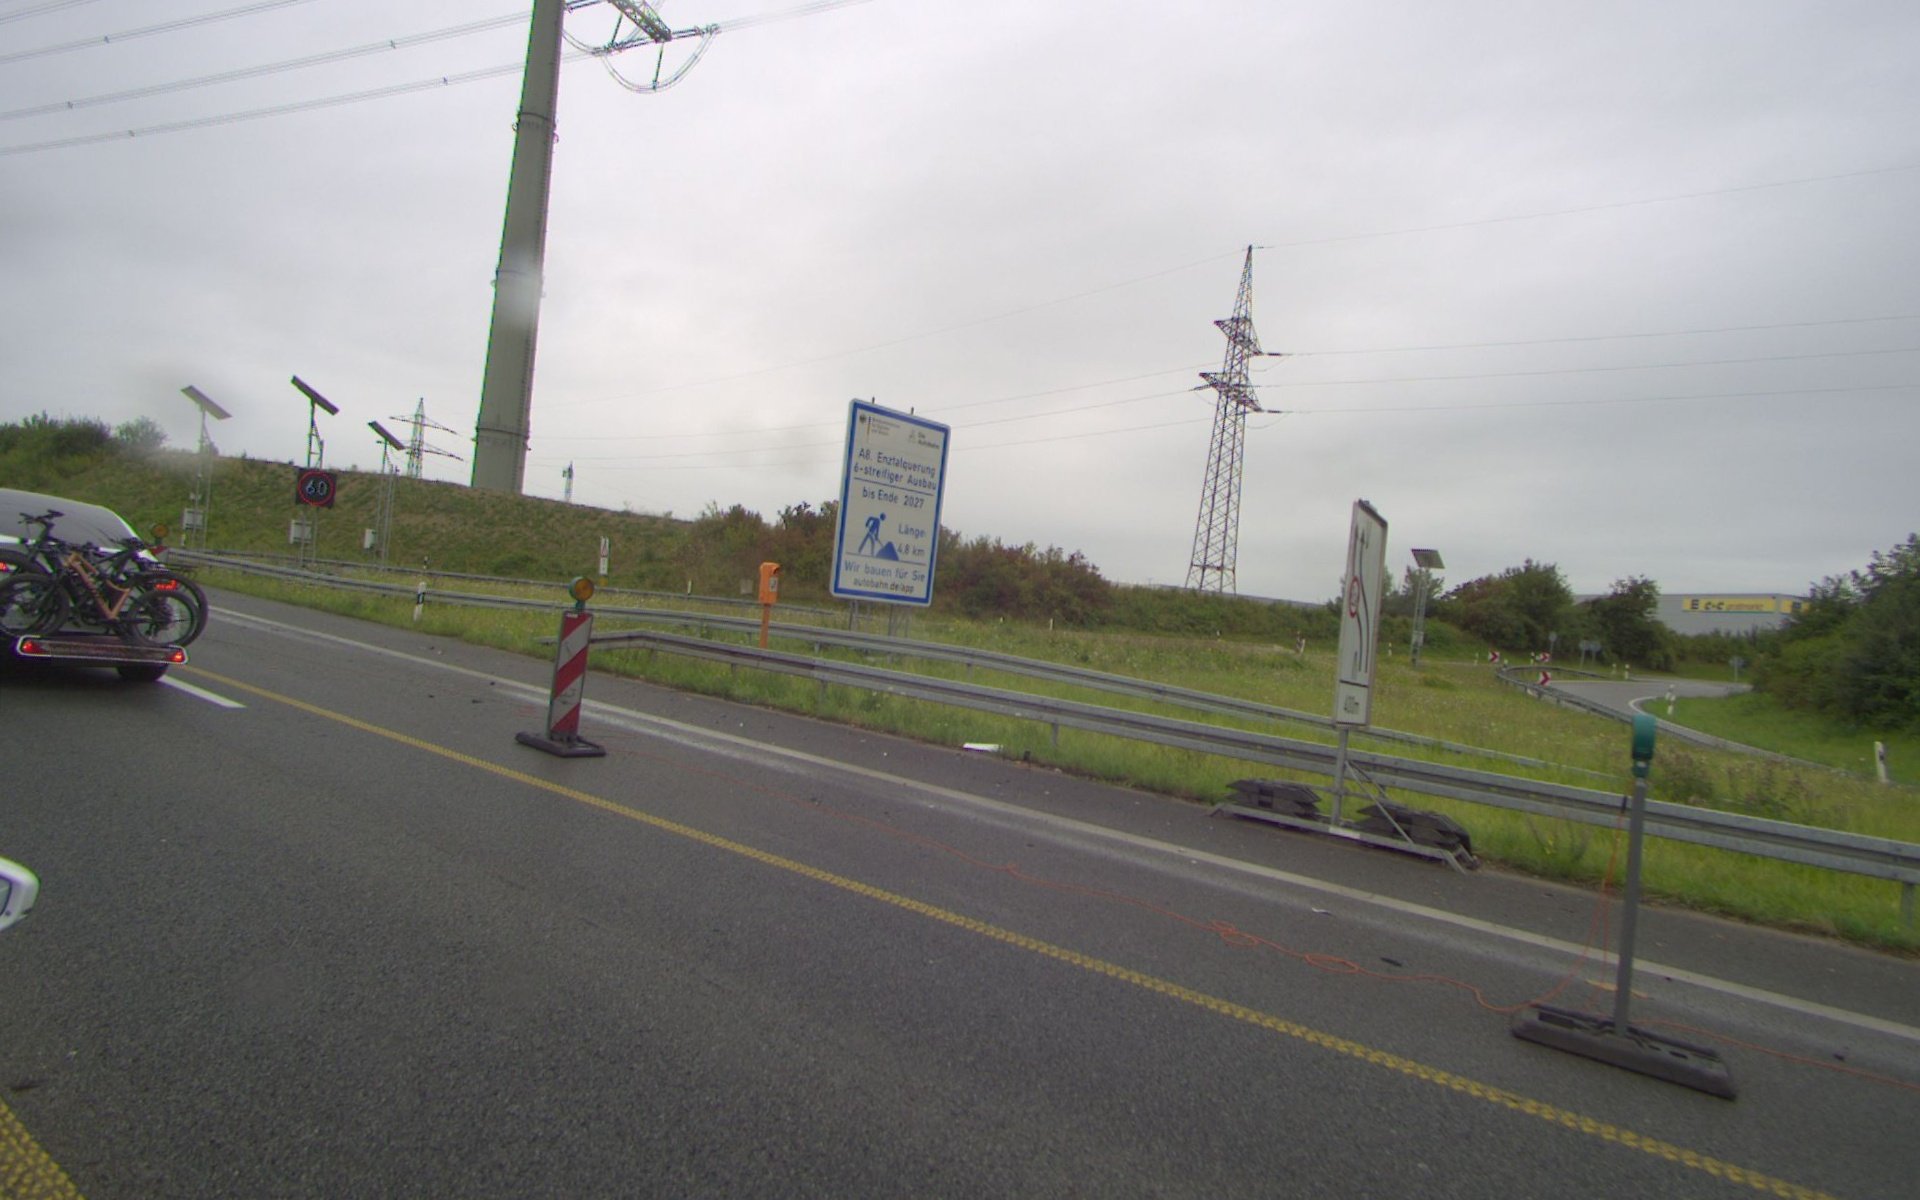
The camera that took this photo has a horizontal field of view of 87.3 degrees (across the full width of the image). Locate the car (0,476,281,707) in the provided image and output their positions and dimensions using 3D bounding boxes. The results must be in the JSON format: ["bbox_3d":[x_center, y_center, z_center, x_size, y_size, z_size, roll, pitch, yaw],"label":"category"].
[{"bbox_3d":[-8.844,-0.249,9.298,5.707,1.614,2.049,6,-2,33],"label":"car"}]
